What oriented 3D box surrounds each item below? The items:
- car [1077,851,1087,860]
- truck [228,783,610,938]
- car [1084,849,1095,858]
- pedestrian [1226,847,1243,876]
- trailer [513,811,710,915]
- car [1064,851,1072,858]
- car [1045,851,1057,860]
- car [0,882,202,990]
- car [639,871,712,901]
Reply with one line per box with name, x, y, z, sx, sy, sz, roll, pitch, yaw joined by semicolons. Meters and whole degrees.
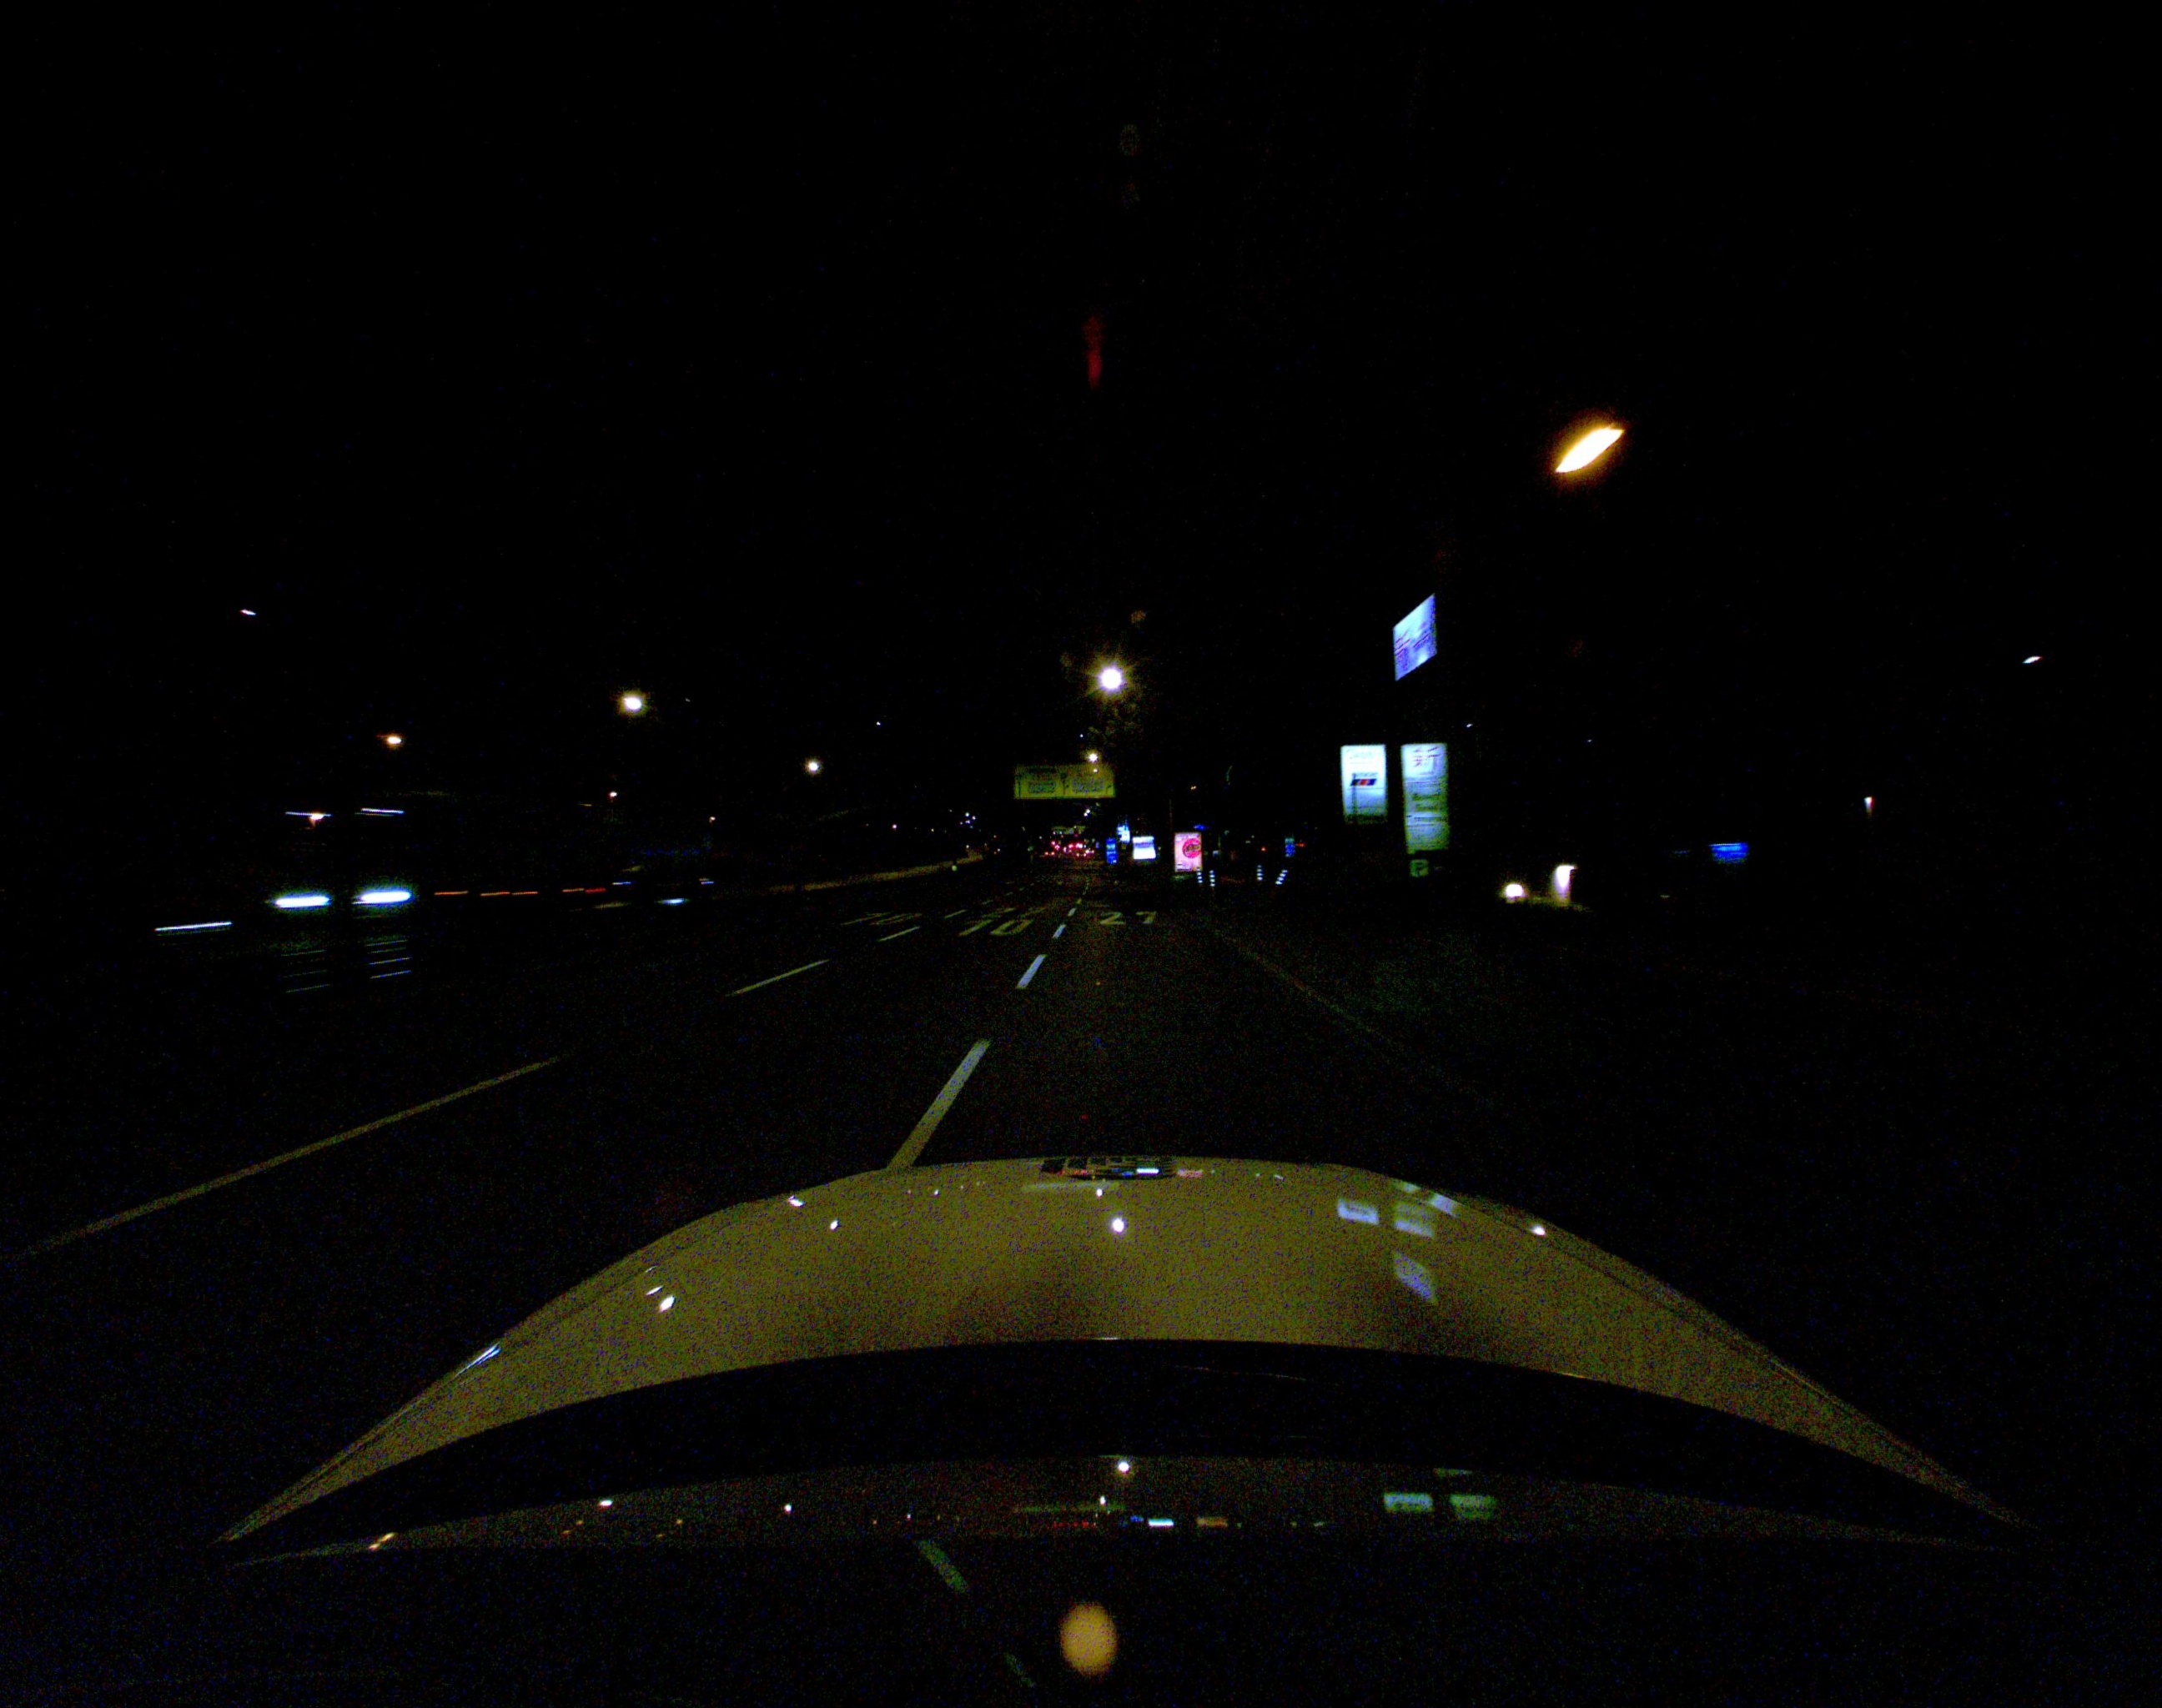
car;0.233;0.280;156.615;1.961;1.711;4.001;0;-1;1
truck;-19.906;0.243;26.026;3.670;3.955;10.417;0;-1;-1
car;2.139;-0.117;196.540;2.642;2.014;5.300;0;-1;1
pedestrian;9.290;0.451;49.303;0.850;1.707;0.957;0;-1;0
trailer;-19.959;0.405;35.545;3.684;3.990;8.393;0;-1;0
car;-3.060;0.116;192.926;1.776;1.711;4.001;0;-1;1
car;-5.962;0.348;162.248;1.961;1.711;4.001;0;-1;1
car;-16.565;1.244;12.483;1.799;1.499;4.082;-1;-1;-2
car;-23.044;1.786;46.433;1.980;1.481;4.203;-3;0;0
